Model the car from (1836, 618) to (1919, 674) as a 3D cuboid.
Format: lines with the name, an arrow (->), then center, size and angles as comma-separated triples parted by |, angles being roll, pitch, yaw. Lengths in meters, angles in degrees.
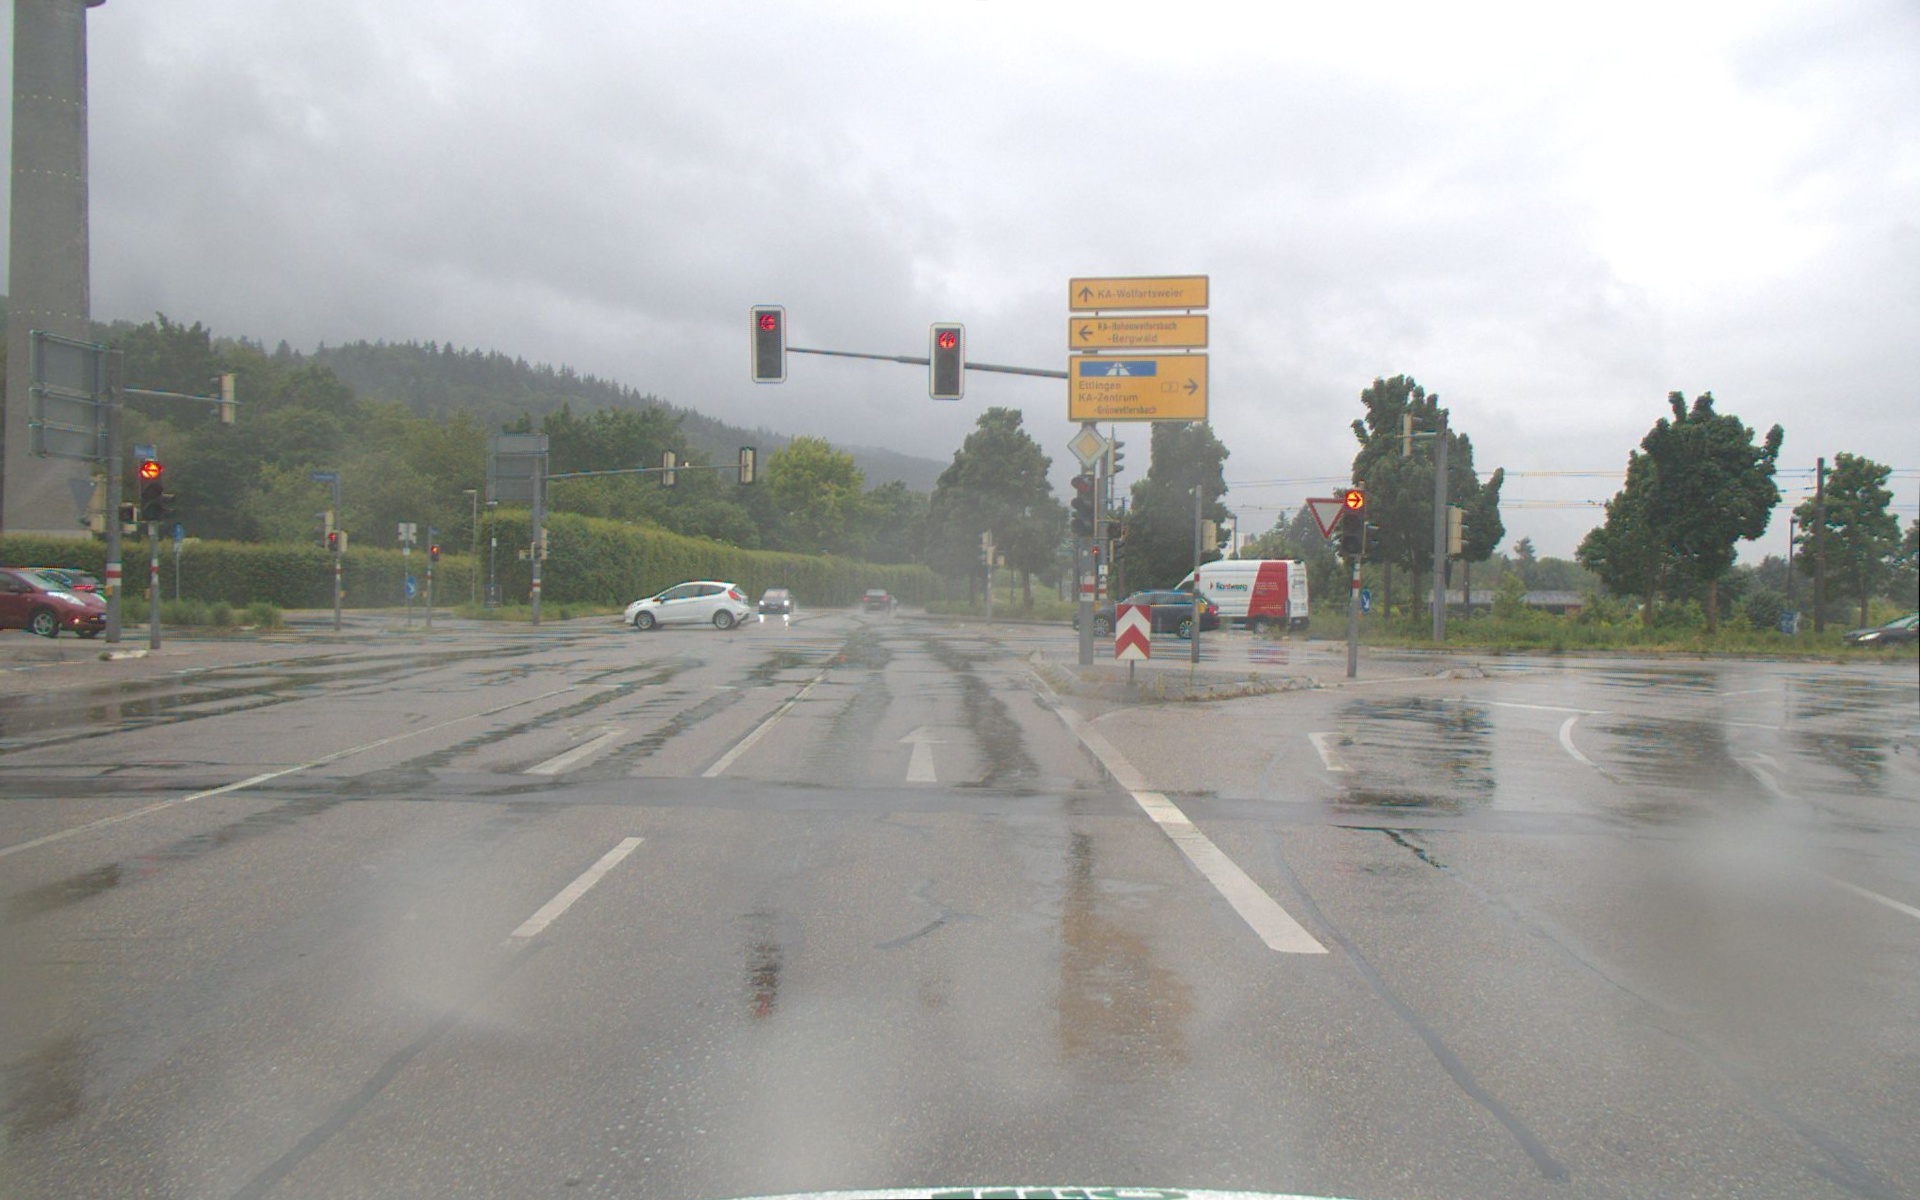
car -> 28.736, 1.368, 49.003 | 4.572, 1.580, 1.823 | 0, 1, 2

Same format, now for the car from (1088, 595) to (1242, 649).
car -> 6.285, 0.677, 51.088 | 4.572, 1.580, 1.823 | 0, 1, 2

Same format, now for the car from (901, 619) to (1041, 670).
car -> 0.392, 1.475, 55.153 | 4.572, 1.580, 1.823 | 0, 1, 2

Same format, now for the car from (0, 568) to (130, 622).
car -> -28.845, -0.161, 51.967 | 4.588, 1.667, 1.817 | 0, 1, -13

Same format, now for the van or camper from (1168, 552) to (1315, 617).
van or camper -> 10.123, -0.569, 59.493 | 4.760, 2.207, 2.156 | 1, 1, 31

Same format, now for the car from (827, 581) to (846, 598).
car -> -11.438, -0.946, 153.207 | 1.527, 1.507, 3.360 | 1, 1, -2

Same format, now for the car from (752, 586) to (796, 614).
car -> -11.048, -0.028, 98.457 | 1.839, 1.601, 4.647 | -1, 0, 3

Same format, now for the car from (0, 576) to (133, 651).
car -> -21.517, 0.277, 37.892 | 4.284, 1.607, 1.733 | 1, 1, 3

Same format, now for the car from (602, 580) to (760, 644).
car -> -8.704, 0.356, 51.797 | 4.572, 1.949, 1.916 | 0, 1, 2
